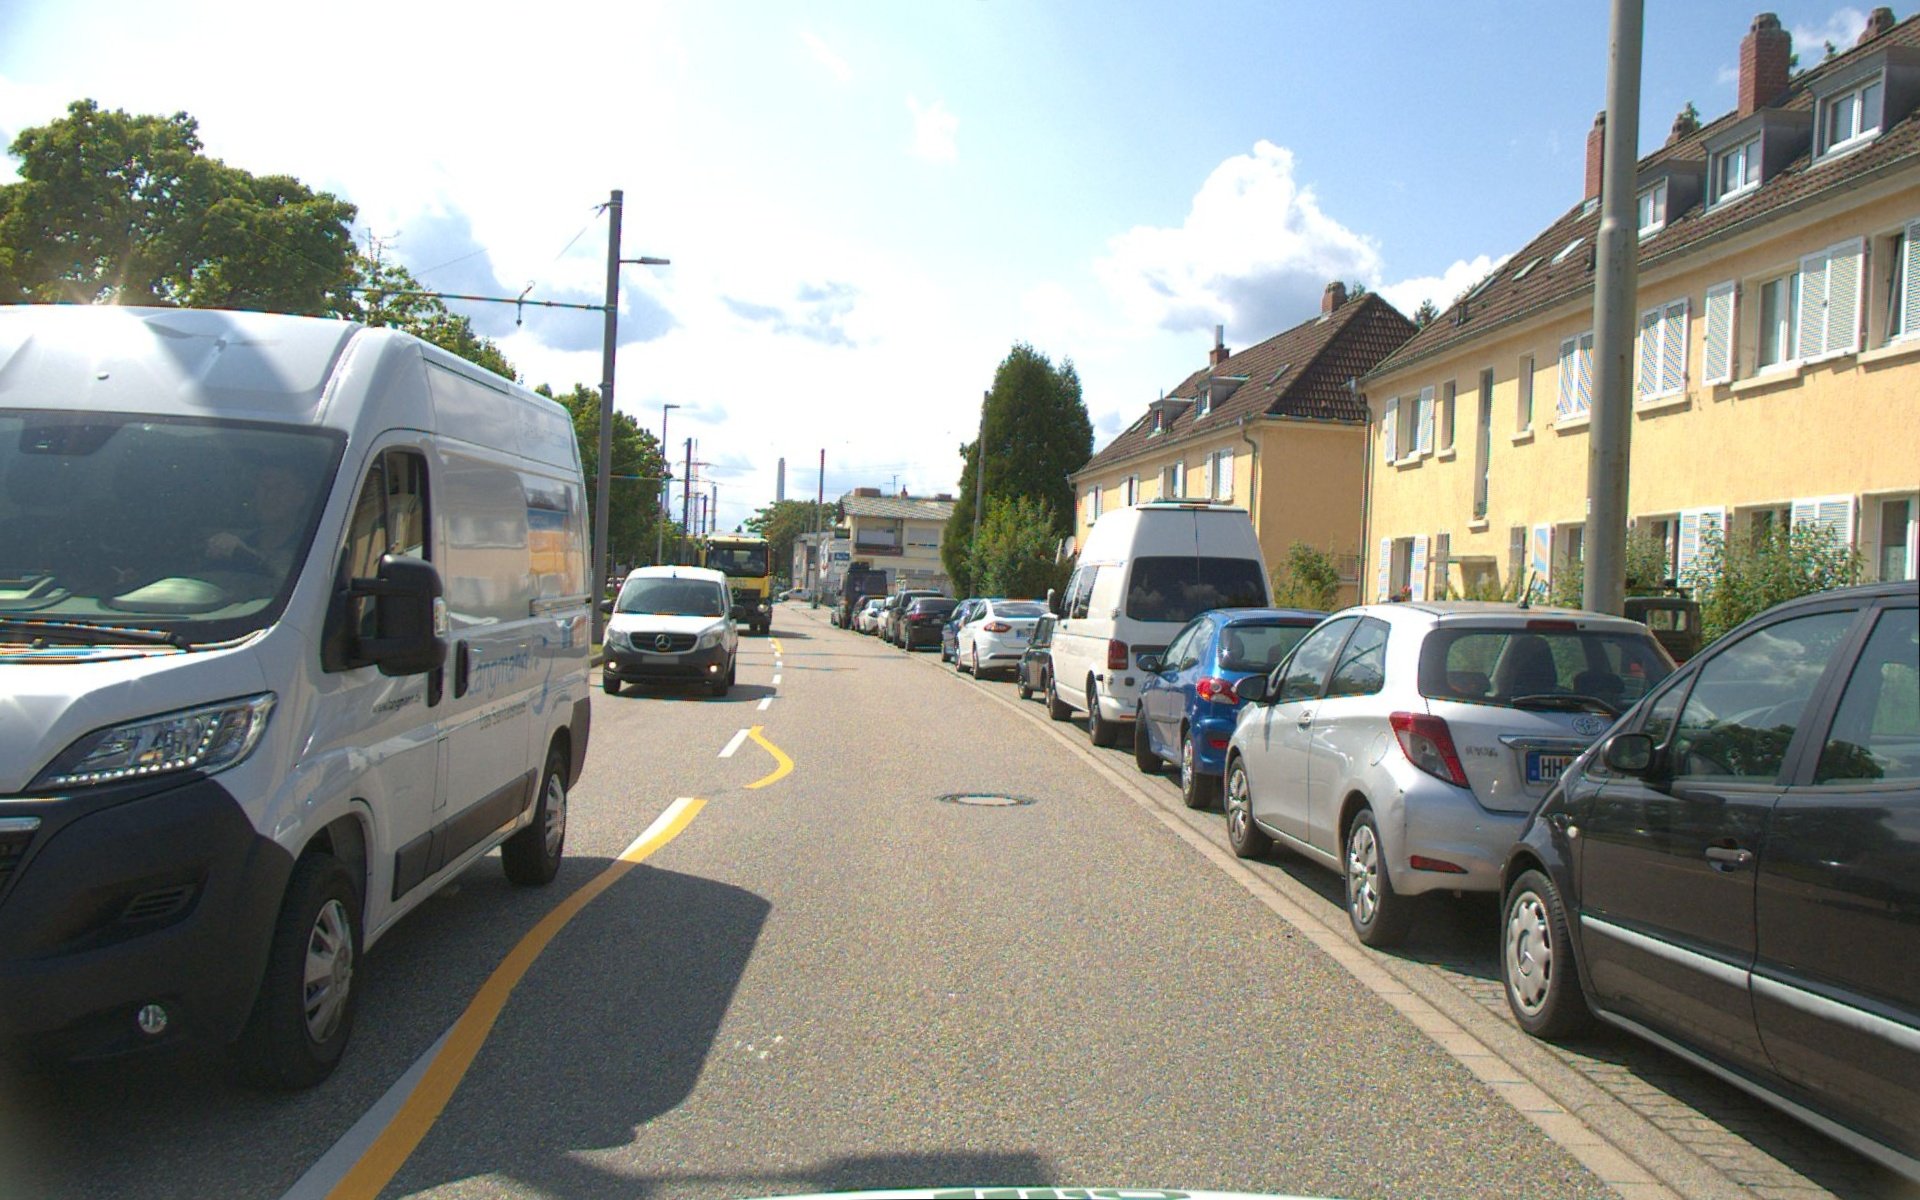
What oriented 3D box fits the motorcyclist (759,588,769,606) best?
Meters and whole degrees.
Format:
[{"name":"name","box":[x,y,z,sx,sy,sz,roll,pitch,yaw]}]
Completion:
[{"name":"motorcyclist","box":[-18.951,-0.284,159.718,0.867,1.696,1.107,2,0,-8]}]

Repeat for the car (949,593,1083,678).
[{"name":"car","box":[0.977,0.629,31.473,1.765,1.483,4.756,1,0,-8]}]

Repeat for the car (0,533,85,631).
[{"name":"car","box":[-17.314,-0.327,29.194,1.662,1.666,4.563,1,0,-5]}]

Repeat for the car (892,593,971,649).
[{"name":"car","box":[-0.833,0.540,45.743,1.730,1.442,3.994,1,0,-7]}]

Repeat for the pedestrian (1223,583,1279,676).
[{"name":"pedestrian","box":[5.396,0.542,30.744,0.836,1.680,0.636,3,0,-2]}]

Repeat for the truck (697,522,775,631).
[{"name":"truck","box":[-7.818,-0.806,57.651,2.512,3.520,7.137,1,0,-8]}]

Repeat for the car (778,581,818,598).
[{"name":"car","box":[-19.852,-1.335,202.538,4.561,1.854,1.830,3,0,-13]}]

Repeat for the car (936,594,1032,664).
[{"name":"car","box":[0.476,0.613,36.932,1.590,1.442,3.994,1,0,-7]}]

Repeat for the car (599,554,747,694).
[{"name":"car","box":[-4.155,0.306,24.494,1.700,1.804,4.304,3,0,-5]}]

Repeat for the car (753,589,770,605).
[{"name":"car","box":[-19.803,-0.308,164.831,1.539,1.524,4.140,3,0,-9]}]

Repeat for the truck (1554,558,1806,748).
[{"name":"truck","box":[7.149,0.497,16.622,1.319,1.718,2.439,2,0,-3]}]

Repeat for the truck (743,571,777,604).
[{"name":"truck","box":[-22.052,-1.362,181.821,3.162,3.461,11.329,2,0,-9]}]

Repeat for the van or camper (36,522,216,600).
[{"name":"van or camper","box":[-37.767,-1.743,75.075,6.752,3.180,2.438,2,0,-8]}]

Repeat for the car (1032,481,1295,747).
[{"name":"car","box":[2.094,0.124,18.731,1.891,2.524,5.513,2,0,-4]}]

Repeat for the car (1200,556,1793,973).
[{"name":"car","box":[2.488,0.661,8.751,1.603,1.630,4.027,3,0,-3]}]

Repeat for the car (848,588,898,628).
[{"name":"car","box":[-3.540,0.294,66.844,1.730,1.529,3.994,1,0,-7]}]

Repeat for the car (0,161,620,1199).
[{"name":"car","box":[-2.874,0.156,6.719,2.061,2.486,5.567,3,0,-4]}]

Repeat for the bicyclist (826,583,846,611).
[{"name":"bicyclist","box":[-7.158,-0.172,95.608,0.977,1.596,1.137,2,0,-11]}]

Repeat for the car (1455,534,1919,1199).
[{"name":"car","box":[2.925,0.694,4.575,1.604,1.630,3.928,3,0,-5]}]

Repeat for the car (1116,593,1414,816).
[{"name":"car","box":[2.302,0.719,13.372,1.505,1.470,3.735,3,0,-3]}]

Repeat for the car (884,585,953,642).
[{"name":"car","box":[-1.313,0.383,50.828,1.730,1.672,3.994,1,0,-7]}]

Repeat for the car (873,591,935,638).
[{"name":"car","box":[-1.925,0.455,55.697,1.730,1.502,3.994,1,0,-7]}]

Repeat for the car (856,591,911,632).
[{"name":"car","box":[-2.907,0.410,61.842,1.730,1.465,3.994,1,0,-7]}]

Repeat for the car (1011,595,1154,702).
[{"name":"car","box":[1.685,0.651,23.601,1.316,1.364,3.282,3,-1,-8]}]

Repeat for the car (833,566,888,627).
[{"name":"car","box":[-4.435,-0.179,72.996,1.923,2.522,6.049,1,0,-8]}]
